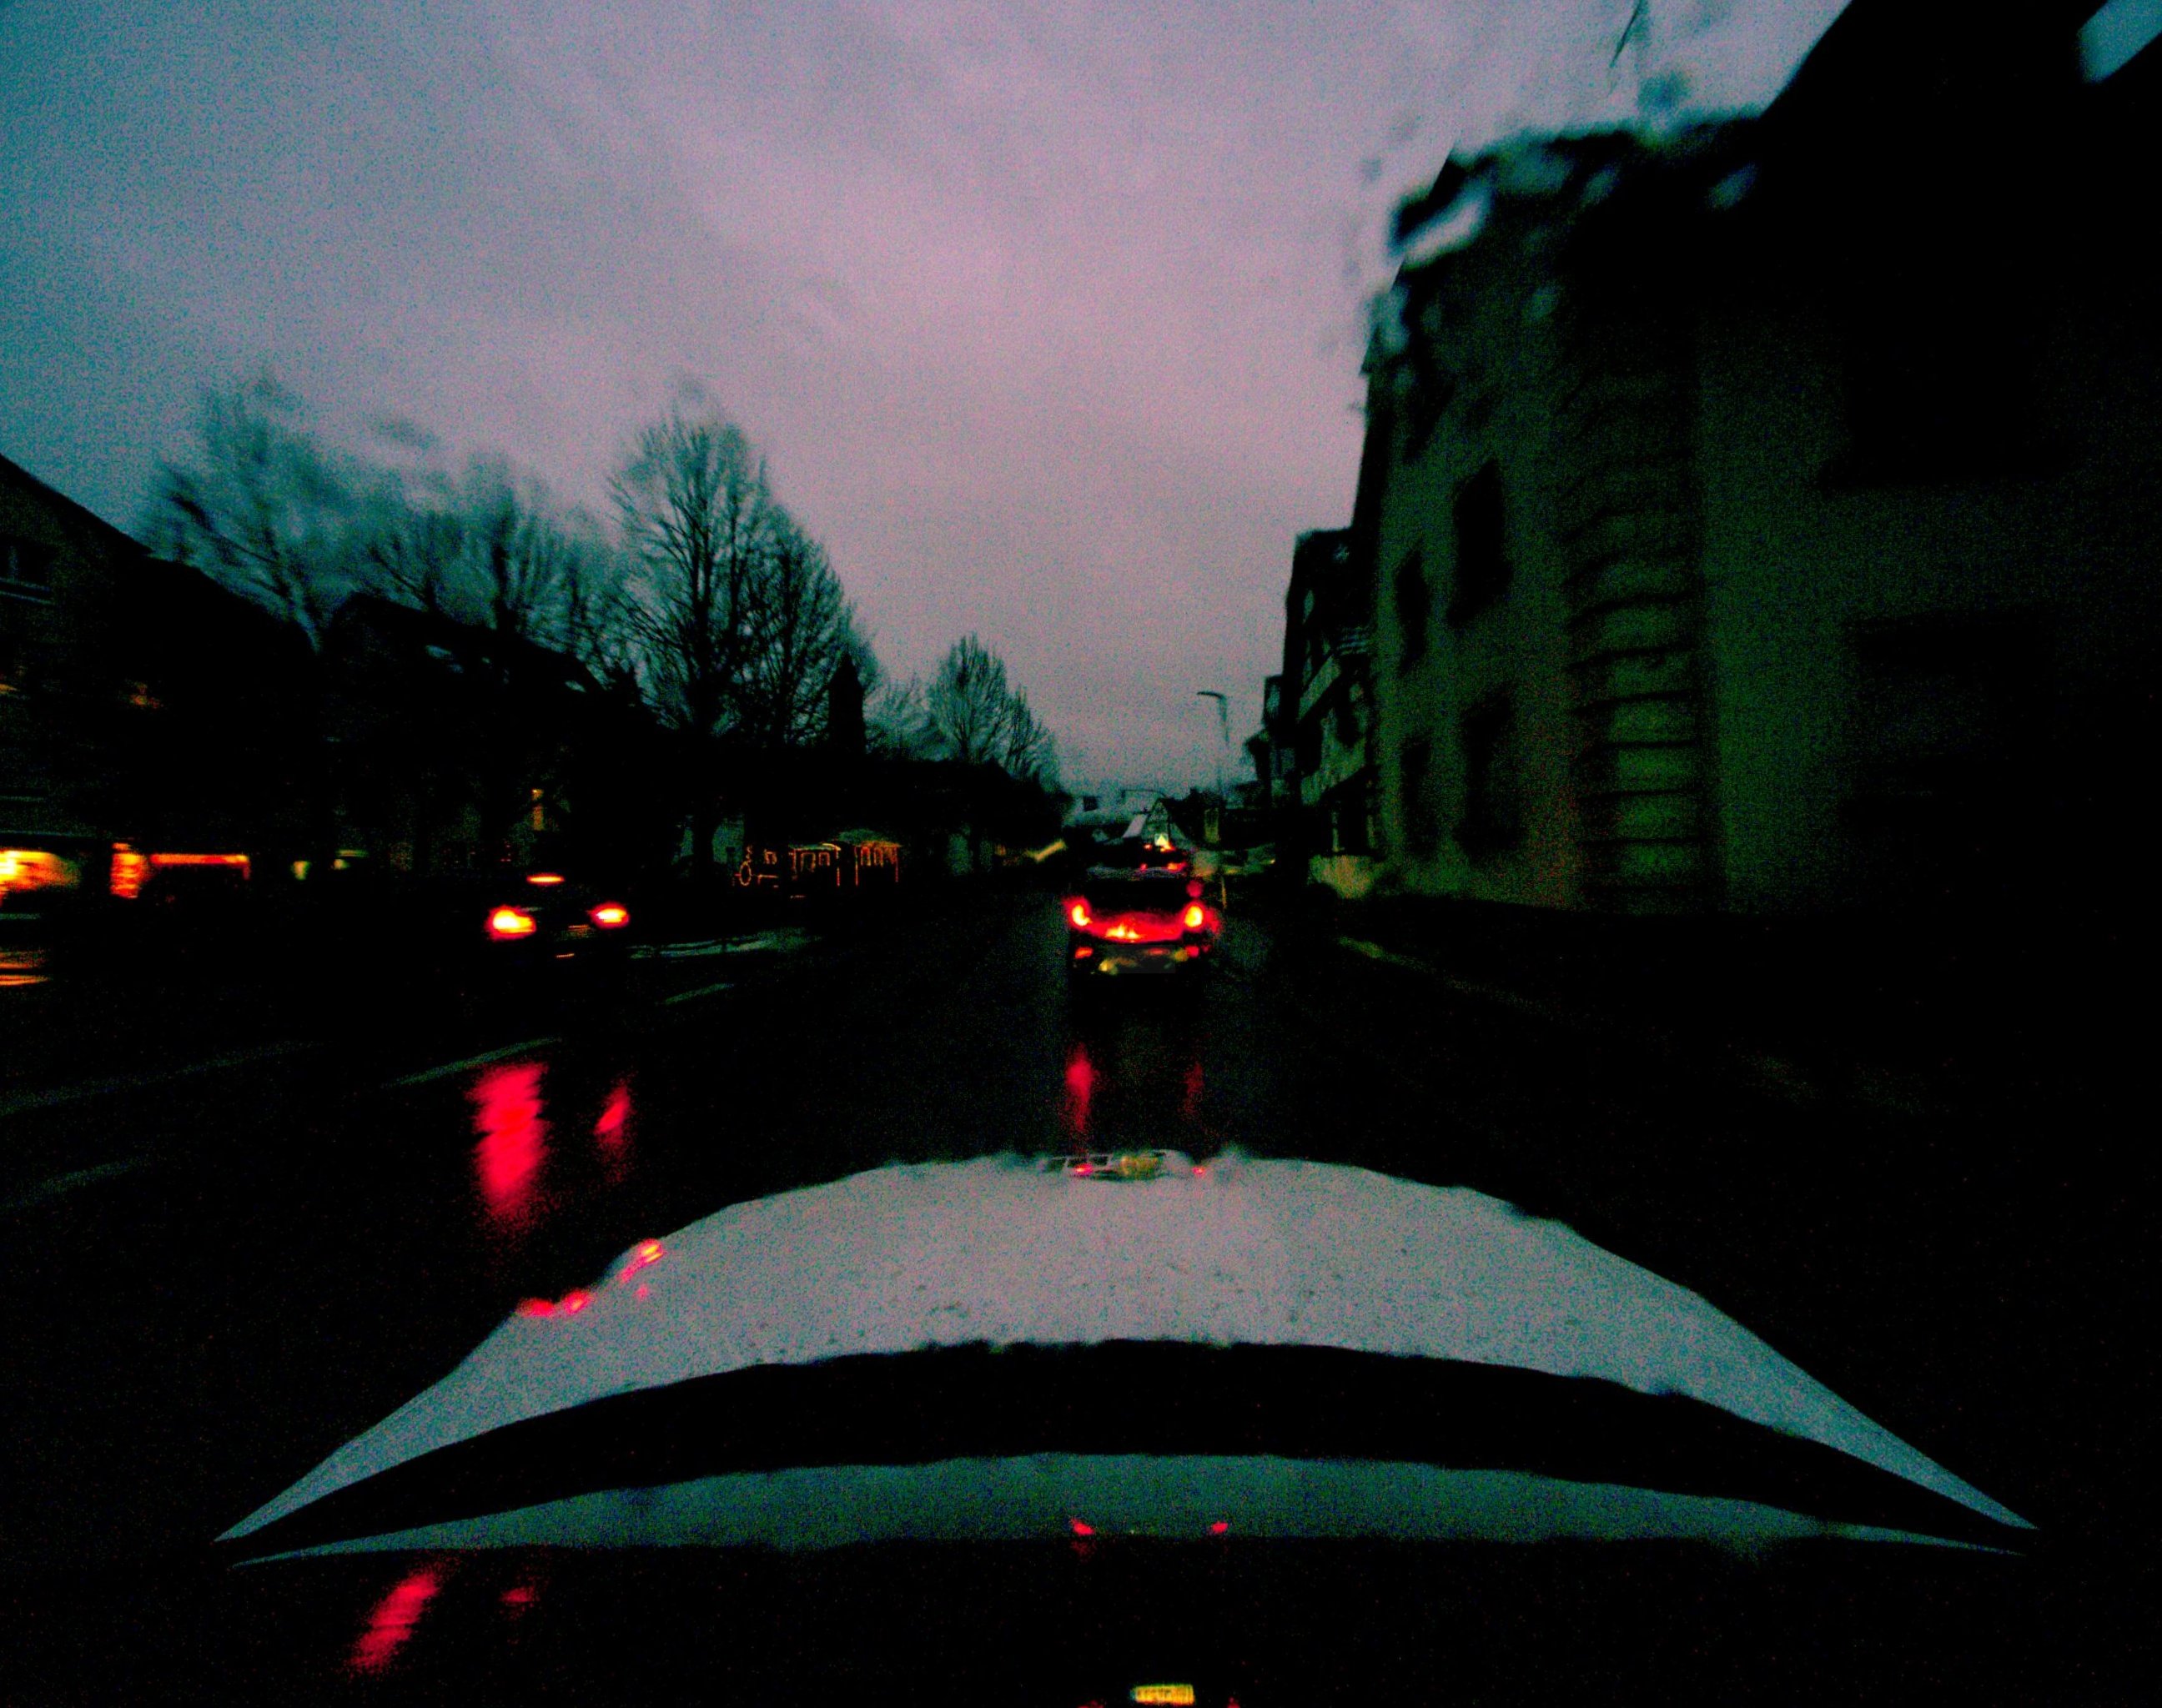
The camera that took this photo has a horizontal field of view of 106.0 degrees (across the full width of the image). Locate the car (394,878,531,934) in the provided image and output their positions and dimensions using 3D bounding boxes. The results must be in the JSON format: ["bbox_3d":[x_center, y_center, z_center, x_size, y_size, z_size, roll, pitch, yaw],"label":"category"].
[{"bbox_3d":[-18.576,1.492,24.424,3.948,1.508,1.934,-1,0,31],"label":"car"}]

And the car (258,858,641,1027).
[{"bbox_3d":[-6.484,0.807,8.442,3.274,1.507,1.508,-1,-1,17],"label":"car"}]

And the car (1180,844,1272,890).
[{"bbox_3d":[6.693,0.618,37.711,4.018,1.843,1.868,-4,-2,9],"label":"car"}]

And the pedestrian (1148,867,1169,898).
[{"bbox_3d":[4.529,1.672,47.561,0.872,1.735,0.961,-5,-2,22],"label":"pedestrian"}]

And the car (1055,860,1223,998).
[{"bbox_3d":[0.687,0.823,10.753,1.788,1.477,4.001,0,-1,2],"label":"car"}]

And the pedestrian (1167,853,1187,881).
[{"bbox_3d":[6.102,0.827,51.802,0.859,1.667,0.997,-5,-2,22],"label":"pedestrian"}]

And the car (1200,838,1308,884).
[{"bbox_3d":[8.505,0.341,40.077,4.945,1.889,1.944,-4,-1,13],"label":"car"}]
